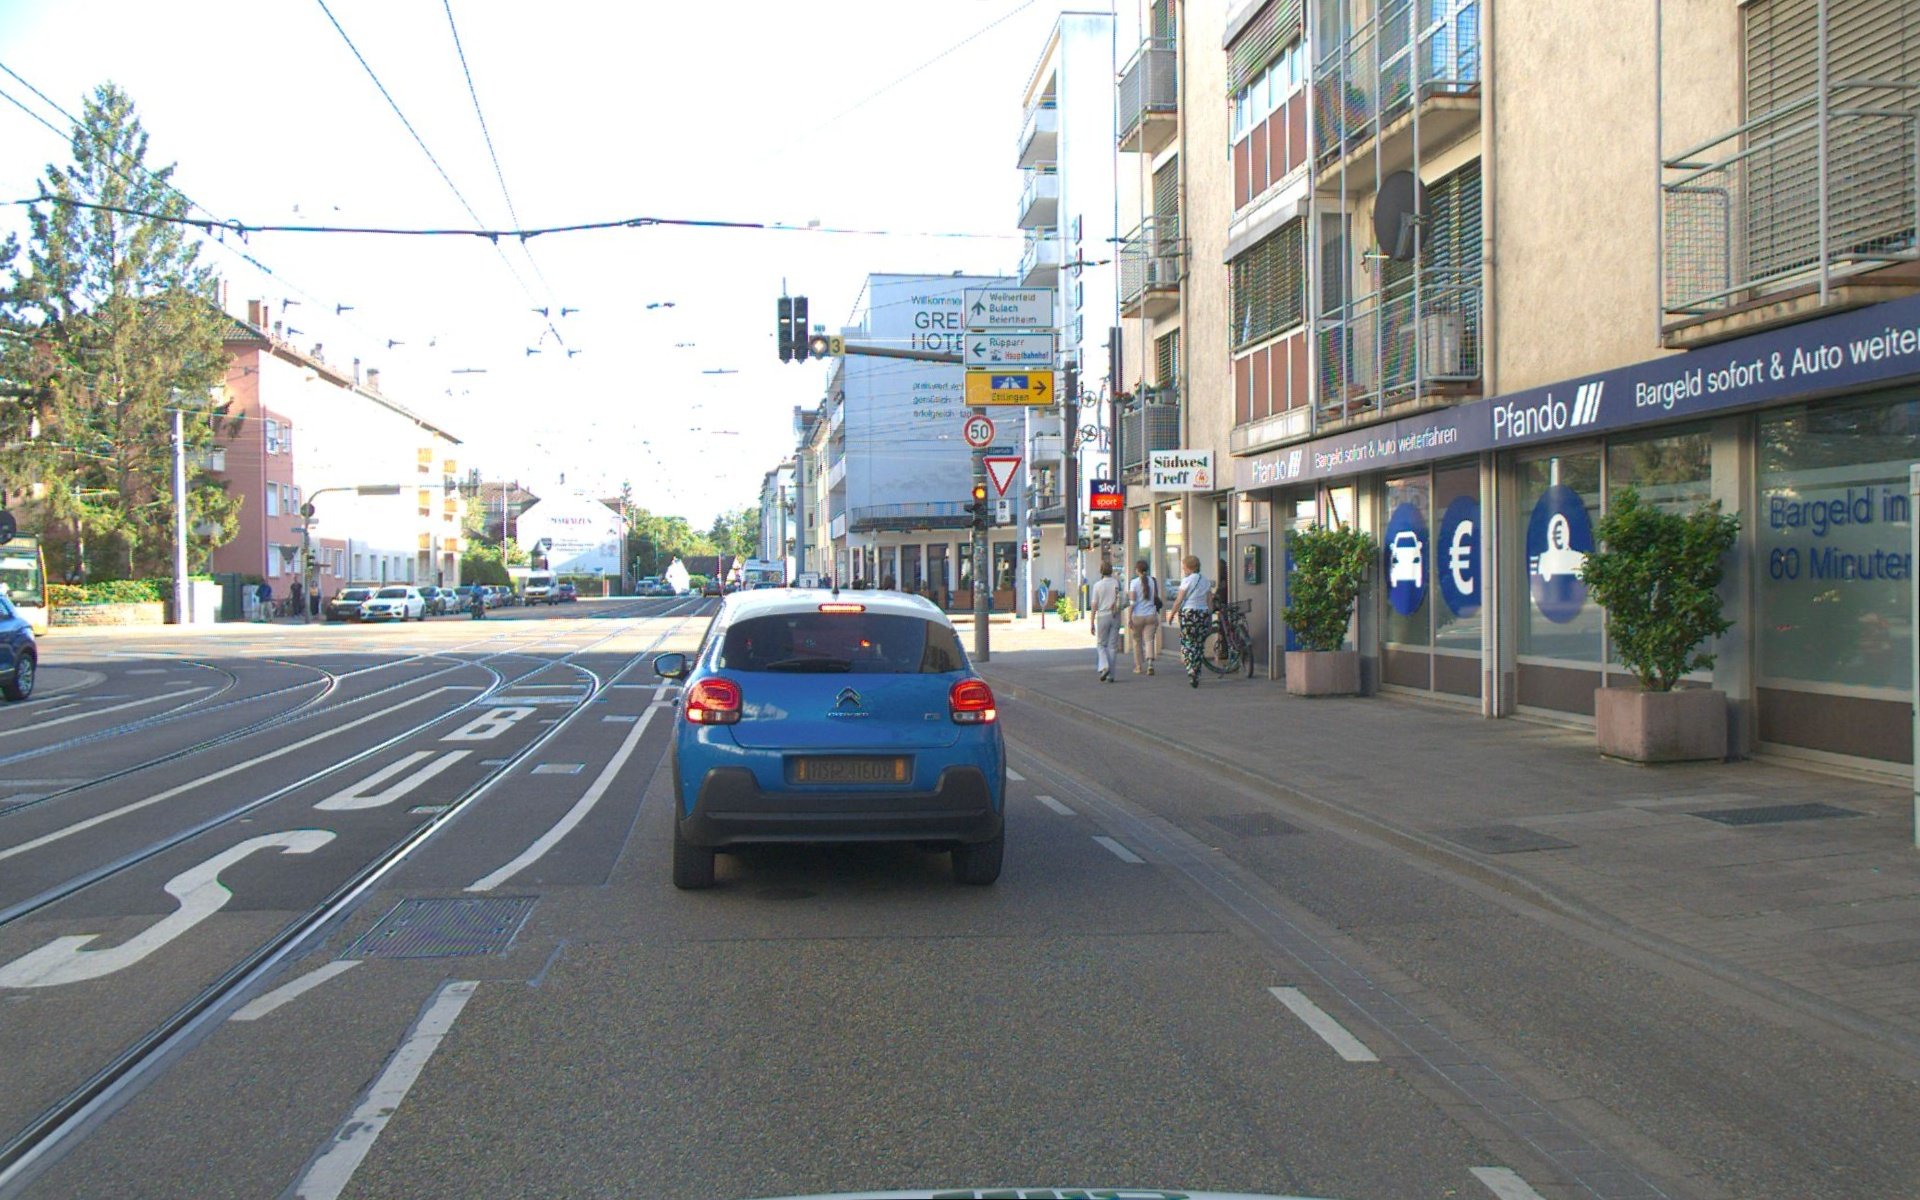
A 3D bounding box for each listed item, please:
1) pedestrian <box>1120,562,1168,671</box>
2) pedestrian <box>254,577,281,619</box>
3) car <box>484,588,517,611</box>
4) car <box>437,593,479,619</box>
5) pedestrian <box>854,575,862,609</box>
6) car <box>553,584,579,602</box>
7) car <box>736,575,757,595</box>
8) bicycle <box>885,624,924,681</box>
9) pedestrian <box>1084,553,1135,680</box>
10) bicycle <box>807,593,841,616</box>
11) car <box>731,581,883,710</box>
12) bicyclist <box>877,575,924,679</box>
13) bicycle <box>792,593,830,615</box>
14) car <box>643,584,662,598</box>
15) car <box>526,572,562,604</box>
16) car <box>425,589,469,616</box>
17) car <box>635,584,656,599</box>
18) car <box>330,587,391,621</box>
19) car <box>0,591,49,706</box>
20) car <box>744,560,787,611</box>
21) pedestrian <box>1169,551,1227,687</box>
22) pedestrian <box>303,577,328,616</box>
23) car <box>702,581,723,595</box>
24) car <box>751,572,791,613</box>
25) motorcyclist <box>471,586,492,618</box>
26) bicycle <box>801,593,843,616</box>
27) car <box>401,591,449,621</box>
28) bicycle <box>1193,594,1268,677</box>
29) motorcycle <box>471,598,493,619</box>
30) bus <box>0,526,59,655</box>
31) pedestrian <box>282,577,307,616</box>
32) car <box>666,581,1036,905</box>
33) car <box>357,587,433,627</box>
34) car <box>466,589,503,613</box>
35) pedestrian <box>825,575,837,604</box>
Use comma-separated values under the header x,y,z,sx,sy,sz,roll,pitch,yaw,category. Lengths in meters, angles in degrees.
x,y,z,sx,sy,sz,roll,pitch,yaw,category
2.675,0.234,24.045,0.531,1.534,0.610,-2,2,-7,pedestrian
-28.525,-0.097,68.145,0.827,1.720,0.737,0,0,-2,pedestrian
-33.467,-0.031,120.528,1.835,1.601,3.993,0,1,-8,car
-31.001,0.357,102.193,1.875,1.523,3.992,-1,1,-9,car
-4.746,-0.379,76.819,0.279,1.583,0.304,-1,0,-13,pedestrian
-35.436,-0.619,148.769,1.984,1.552,3.992,0,1,-9,car
-17.686,-1.227,137.013,1.657,1.646,3.994,0,0,-7,car
-0.924,0.856,27.445,0.489,0.879,1.746,-1,1,-7,bicycle
2.057,0.216,22.787,0.531,1.701,0.623,-2,2,-7,pedestrian
-5.951,0.207,72.560,1.474,0.973,0.701,-1,0,-3,bicycle
-1.886,0.488,20.712,1.704,1.445,3.996,0,1,-5,car
-0.983,0.428,27.179,0.712,1.674,0.789,-1,0,-5,bicyclist
-6.748,0.196,74.917,1.686,0.973,0.701,-1,0,-3,bicycle
-35.576,-1.087,191.362,1.984,1.552,3.992,-1,1,-9,car
-31.151,-0.923,123.921,2.166,2.290,4.668,-1,1,-8,car
-29.956,0.113,96.665,1.875,1.523,3.992,-1,1,-9,car
-33.020,-0.923,173.952,1.984,1.552,3.992,0,1,-9,car
-26.677,0.166,73.704,1.876,1.458,3.991,-1,1,-10,car
-13.608,0.639,21.663,1.713,1.536,3.990,1,0,-11,car
-9.268,-0.690,78.743,1.956,2.366,3.993,0,0,-8,car
3.049,0.238,21.256,0.531,1.701,0.649,-2,1,-7,pedestrian
-28.767,-0.151,73.829,0.827,1.720,0.737,0,0,-2,pedestrian
-23.102,-1.124,154.393,1.724,1.281,3.821,0,1,-11,car
-8.449,-0.316,73.885,1.700,1.780,3.208,0,0,-8,car
-20.947,0.083,72.419,0.705,1.402,0.910,-1,0,-5,motorcyclist
-6.126,0.202,73.608,1.836,0.973,0.701,-1,0,-3,bicycle
-29.281,0.311,90.597,1.875,1.523,3.992,-1,1,-9,car
3.756,0.471,23.068,0.520,1.091,1.808,-1,1,-8,bicycle
-20.967,0.374,72.574,0.603,0.879,1.669,-1,1,-5,motorcycle
-28.776,-0.202,42.712,9.945,3.213,2.733,-1,1,8,bus
-29.617,-0.157,73.647,0.827,1.720,0.737,0,0,-2,pedestrian
-0.809,0.646,9.696,1.712,1.488,3.991,1,0,-9,car
-23.699,0.256,69.550,1.812,1.601,4.400,0,1,-2,car
-31.757,0.065,110.555,1.875,1.523,3.992,-1,1,-9,car
-6.910,-0.568,88.588,0.484,1.583,0.645,-1,0,-17,pedestrian
